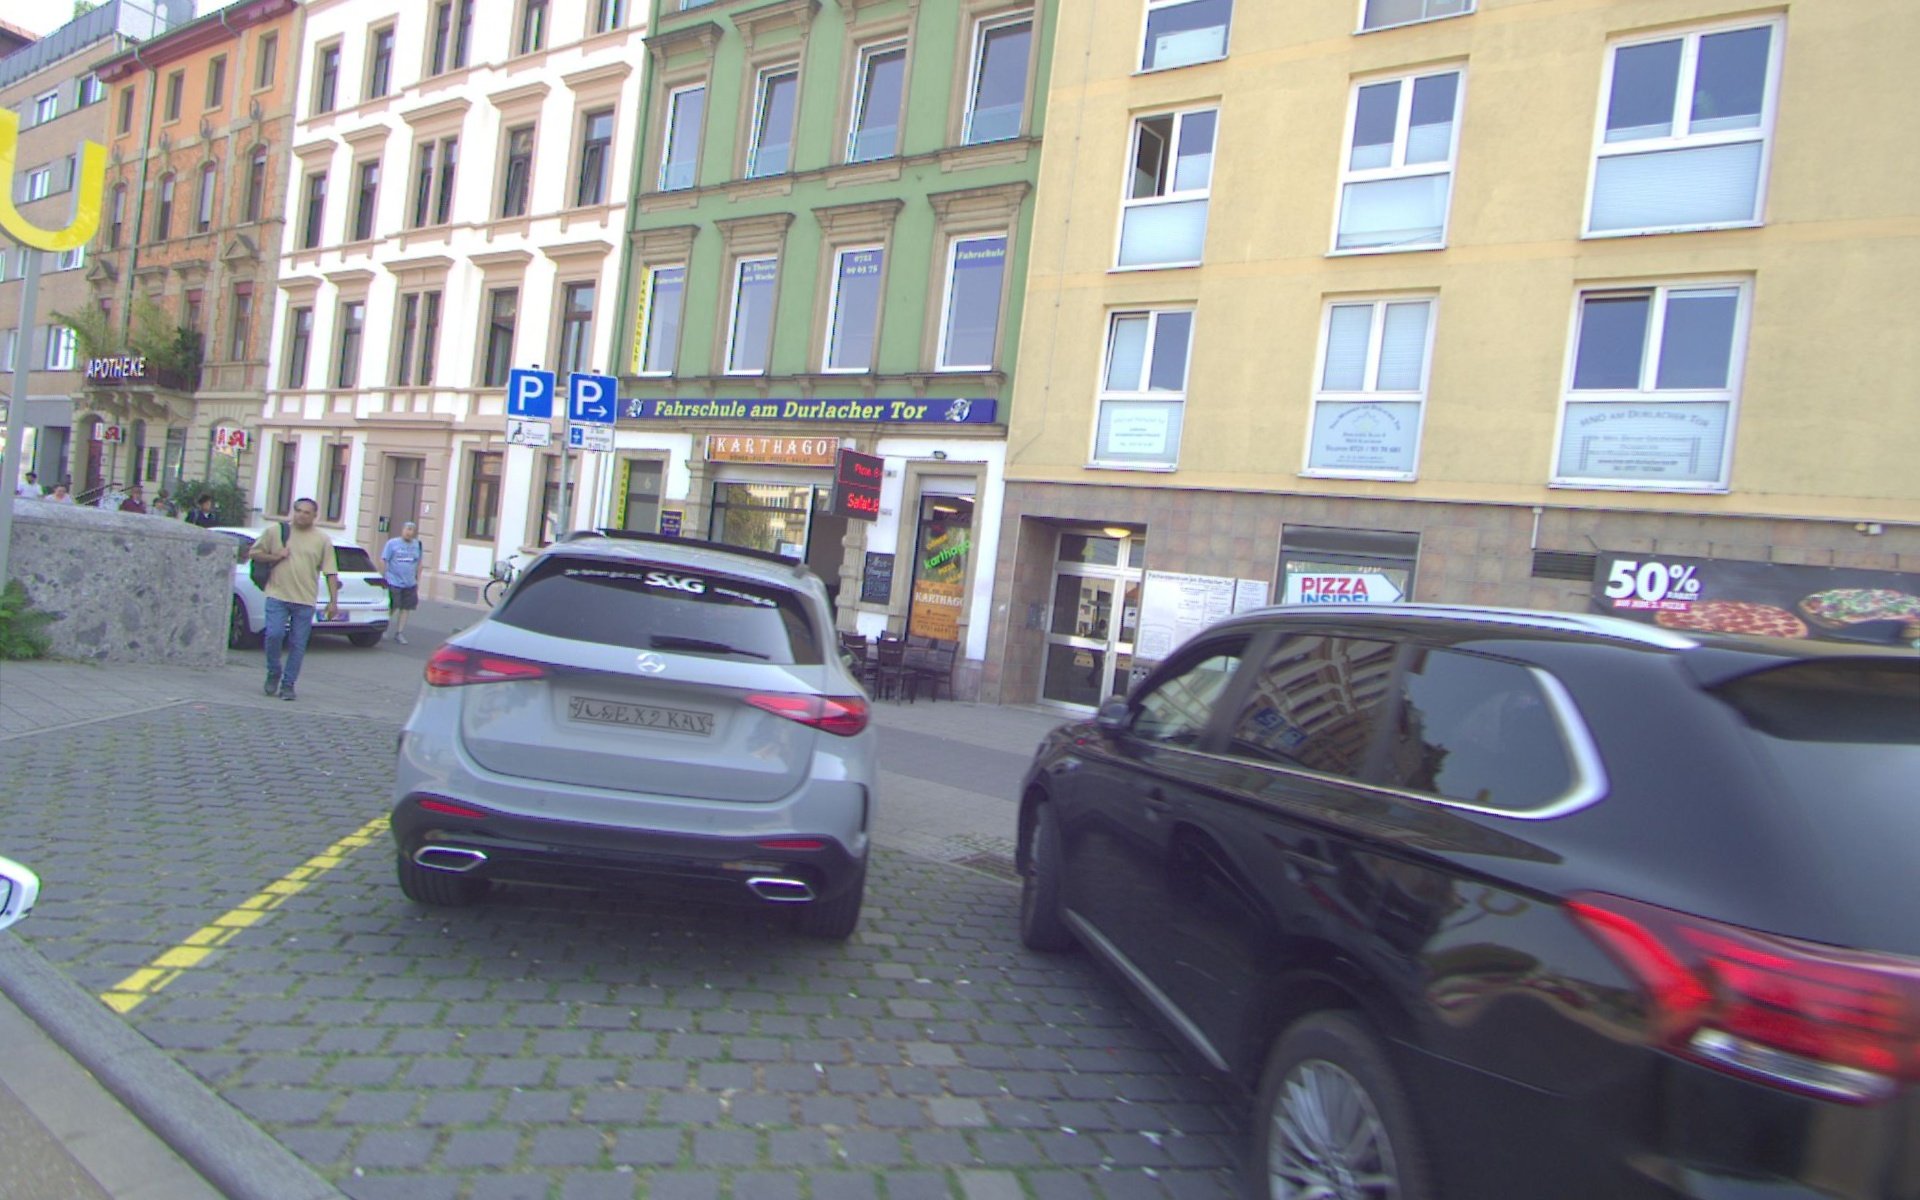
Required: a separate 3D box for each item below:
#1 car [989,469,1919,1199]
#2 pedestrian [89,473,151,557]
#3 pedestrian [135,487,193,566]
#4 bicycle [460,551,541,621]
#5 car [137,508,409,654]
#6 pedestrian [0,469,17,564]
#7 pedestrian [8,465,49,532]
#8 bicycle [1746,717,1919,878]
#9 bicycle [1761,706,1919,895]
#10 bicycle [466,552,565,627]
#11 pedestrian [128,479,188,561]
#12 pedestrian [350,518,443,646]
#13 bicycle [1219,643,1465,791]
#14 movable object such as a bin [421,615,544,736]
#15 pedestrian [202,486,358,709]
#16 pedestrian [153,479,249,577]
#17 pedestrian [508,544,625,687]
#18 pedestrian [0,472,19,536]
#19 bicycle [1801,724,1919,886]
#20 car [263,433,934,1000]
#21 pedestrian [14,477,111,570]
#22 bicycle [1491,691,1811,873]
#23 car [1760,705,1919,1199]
[{"bbox_3d":[1.578,0.779,3.519,1.953,1.708,4.384,7,0,-10],"label":"car"},{"bbox_3d":[-19.540,-1.982,23.408,1.000,1.796,0.684,8,2,31],"label":"pedestrian"},{"bbox_3d":[-20.046,-1.838,25.335,0.674,1.870,0.842,7,3,23],"label":"pedestrian"},{"bbox_3d":[-9.240,-0.295,20.212,1.817,1.198,0.458,7,1,32],"label":"bicycle"},{"bbox_3d":[-9.278,-0.268,13.537,3.559,1.458,1.633,8,1,32],"label":"car"},{"bbox_3d":[-18.831,-1.658,19.305,0.956,1.752,0.849,10,4,38],"label":"pedestrian"},{"bbox_3d":[-26.958,-2.930,29.108,0.865,1.819,0.599,7,3,32],"label":"pedestrian"},{"bbox_3d":[8.614,1.875,9.428,1.796,1.254,0.409,7,1,29],"label":"bicycle"},{"bbox_3d":[8.624,1.834,8.371,0.888,1.422,3.361,7,0,-4],"label":"bicycle"},{"bbox_3d":[-8.860,-0.225,20.010,2.431,1.161,0.480,9,2,34],"label":"bicycle"},{"bbox_3d":[-19.188,-1.908,24.069,1.000,1.796,0.684,8,2,31],"label":"pedestrian"},{"bbox_3d":[-8.076,-0.255,14.429,0.927,1.707,0.671,7,2,32],"label":"pedestrian"},{"bbox_3d":[4.363,1.290,11.586,2.384,1.254,0.939,7,1,35],"label":"bicycle"},{"bbox_3d":[-4.101,0.653,8.652,0.688,0.926,0.538,7,-2,29],"label":"movable object such as a bin"},{"bbox_3d":[-5.990,-0.024,8.931,0.860,1.771,0.865,10,-1,-31],"label":"pedestrian"},{"bbox_3d":[-13.645,-1.278,18.110,0.953,1.601,0.852,6,1,-2],"label":"pedestrian"},{"bbox_3d":[-4.815,0.185,12.367,0.953,1.601,0.852,6,1,-2],"label":"pedestrian"},{"bbox_3d":[-27.319,-2.741,28.645,0.668,1.774,0.577,7,3,32],"label":"pedestrian"},{"bbox_3d":[8.444,1.838,8.730,0.584,1.254,1.535,6,1,-25],"label":"bicycle"},{"bbox_3d":[-1.562,0.409,5.711,2.010,1.735,4.656,7,0,-10],"label":"car"},{"bbox_3d":[-17.065,-1.434,19.152,0.953,1.601,0.852,6,1,-2],"label":"pedestrian"},{"bbox_3d":[6.734,1.706,9.974,2.384,1.254,0.939,7,1,35],"label":"bicycle"},{"bbox_3d":[4.018,1.236,1.744,1.777,1.517,3.781,9,-2,-9],"label":"car"}]
